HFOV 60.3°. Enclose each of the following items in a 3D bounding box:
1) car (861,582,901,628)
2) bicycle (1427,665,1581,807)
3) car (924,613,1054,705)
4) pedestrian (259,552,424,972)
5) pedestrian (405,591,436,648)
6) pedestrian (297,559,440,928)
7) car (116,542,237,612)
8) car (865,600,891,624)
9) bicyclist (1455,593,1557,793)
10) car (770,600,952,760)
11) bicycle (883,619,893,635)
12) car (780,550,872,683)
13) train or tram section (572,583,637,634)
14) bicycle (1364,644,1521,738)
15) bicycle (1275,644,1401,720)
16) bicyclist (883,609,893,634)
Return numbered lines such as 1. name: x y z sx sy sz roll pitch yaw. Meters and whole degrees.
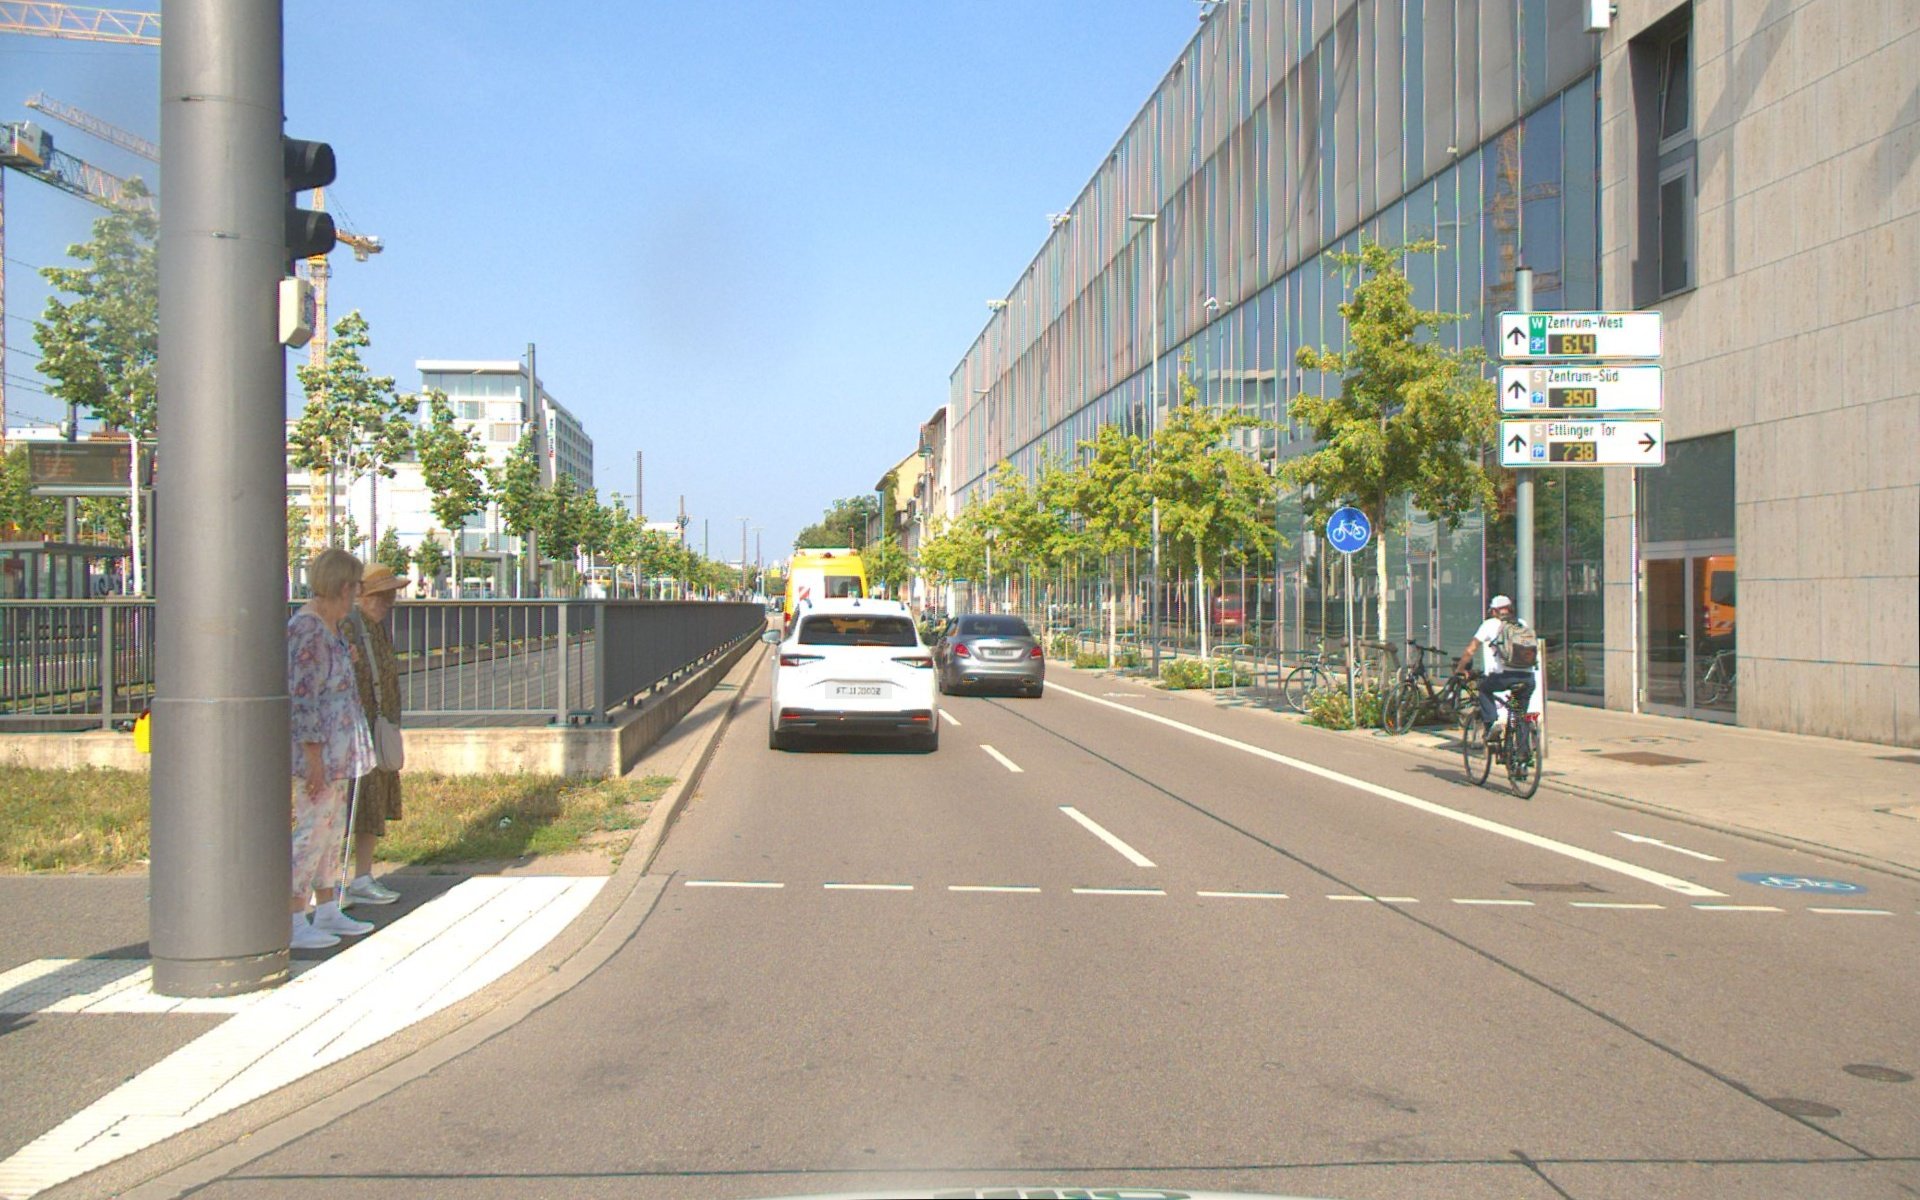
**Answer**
1. car: -3.768 0.252 78.131 1.753 2.049 3.996 2 -1 -4
2. bicycle: 4.973 1.213 15.270 0.648 1.137 2.049 0 0 -3
3. car: 0.452 1.012 29.946 1.727 1.461 4.108 2 0 -7
4. pedestrian: -2.611 0.649 7.036 0.458 1.679 0.776 0 0 -6
5. pedestrian: -15.823 0.574 48.504 0.721 1.647 0.710 0 -1 -7
6. pedestrian: -2.820 0.652 7.939 0.458 1.679 0.776 0 0 -6
7. car: -42.389 -1.165 89.842 2.995 3.574 9.220 1 0 -6
8. car: -7.119 1.024 143.708 2.023 2.049 4.582 0 0 -6
9. bicyclist: 4.975 0.827 15.104 0.638 1.779 0.769 0 0 -4
10. car: -1.186 0.804 18.682 1.834 1.602 3.995 0 0 -6
11. bicycle: -4.540 1.687 104.136 0.642 0.955 1.516 0 0 -4
12. car: -3.142 0.275 38.295 1.981 2.844 5.395 0 2 -6
13. train or tram section: -28.169 0.705 131.940 2.850 3.740 18.114 2 -1 -5
14. bicycle: 6.194 1.161 21.291 1.803 1.132 0.686 2 0 -4
15. bicycle: 5.809 1.254 25.445 1.841 1.129 0.490 0 0 -4
16. bicyclist: -4.541 1.359 104.117 0.626 1.604 0.770 0 0 -4
